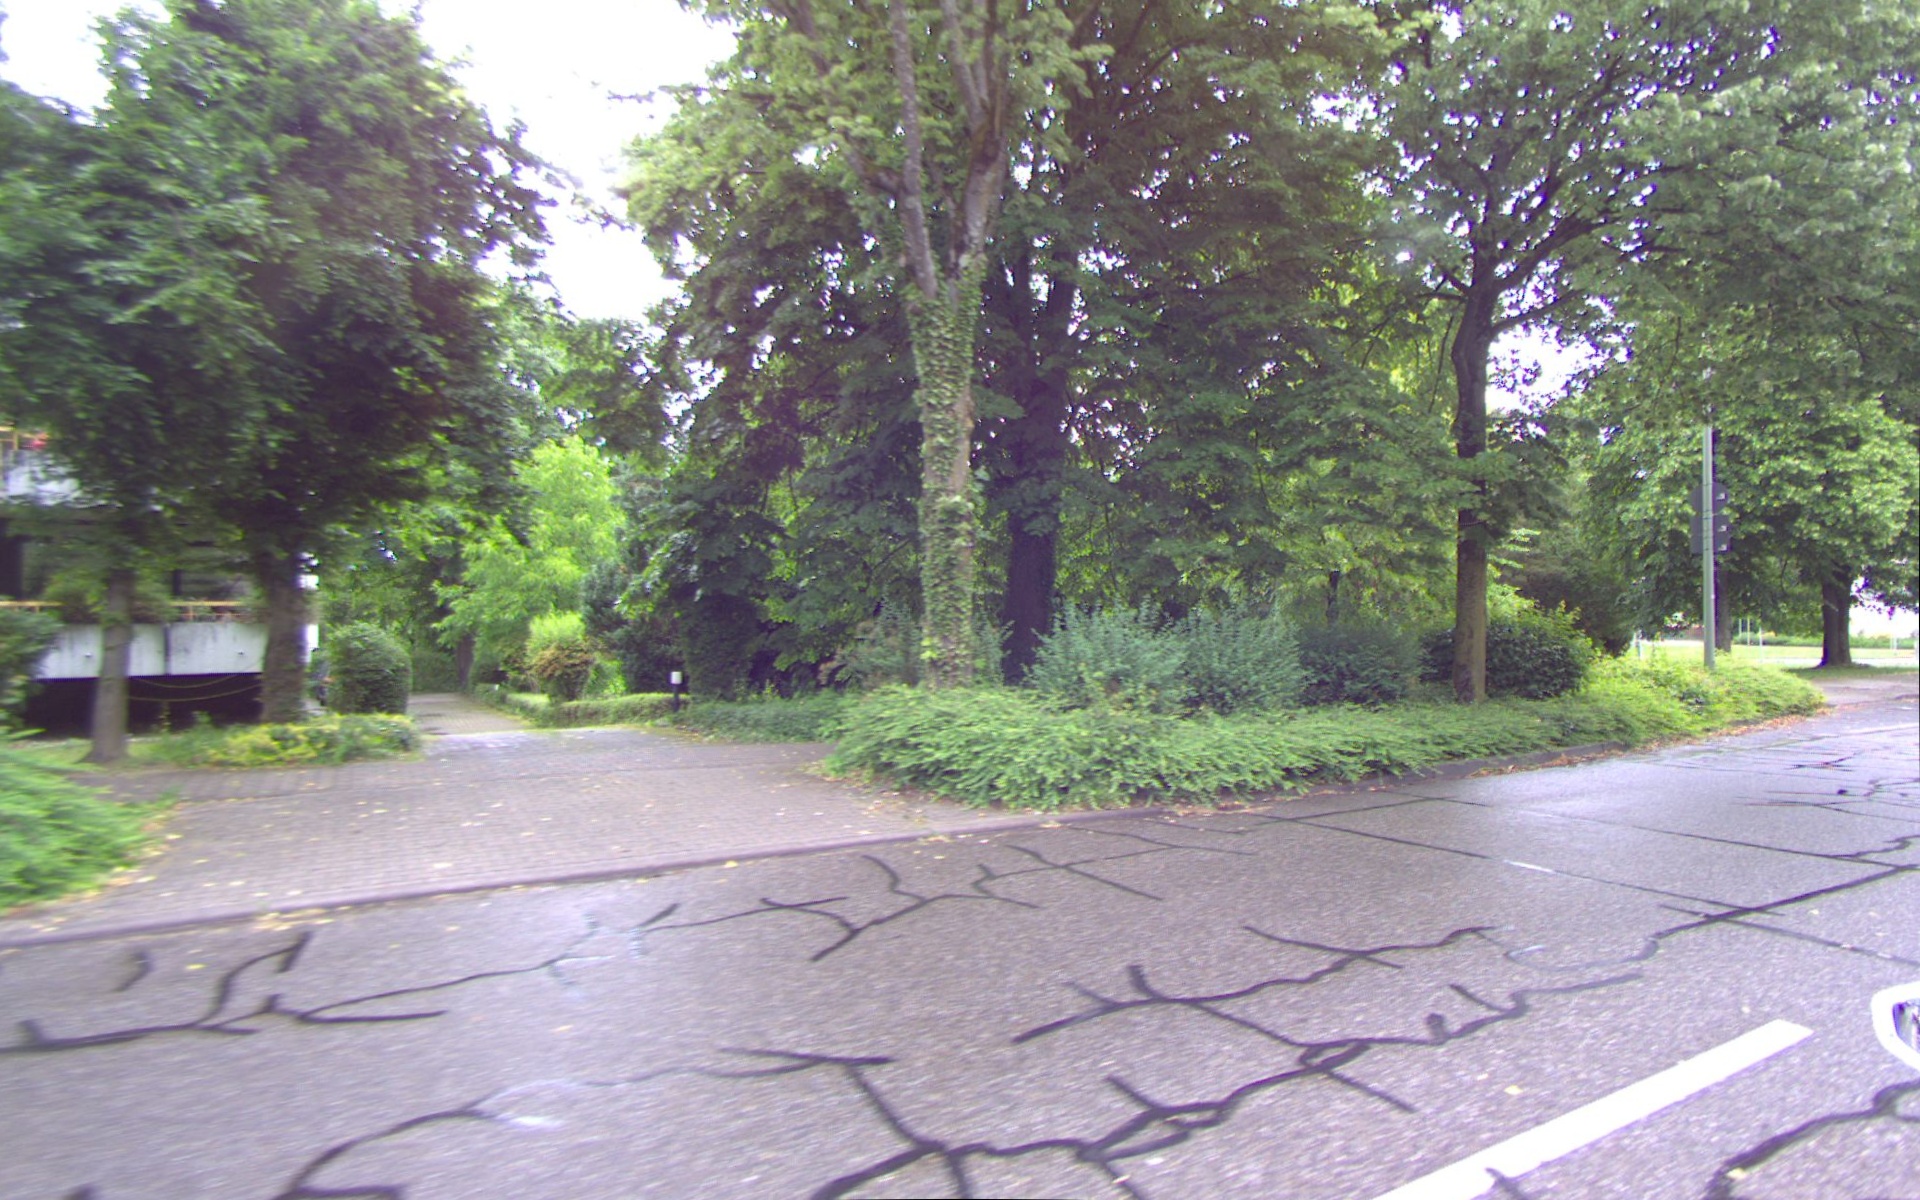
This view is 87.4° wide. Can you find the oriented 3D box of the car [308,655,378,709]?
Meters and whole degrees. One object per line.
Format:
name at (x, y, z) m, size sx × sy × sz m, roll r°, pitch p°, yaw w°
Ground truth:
car at (-24.295, 3.163, 39.474) m, size 1.810 × 1.740 × 3.954 m, roll 2°, pitch 0°, yaw -39°
